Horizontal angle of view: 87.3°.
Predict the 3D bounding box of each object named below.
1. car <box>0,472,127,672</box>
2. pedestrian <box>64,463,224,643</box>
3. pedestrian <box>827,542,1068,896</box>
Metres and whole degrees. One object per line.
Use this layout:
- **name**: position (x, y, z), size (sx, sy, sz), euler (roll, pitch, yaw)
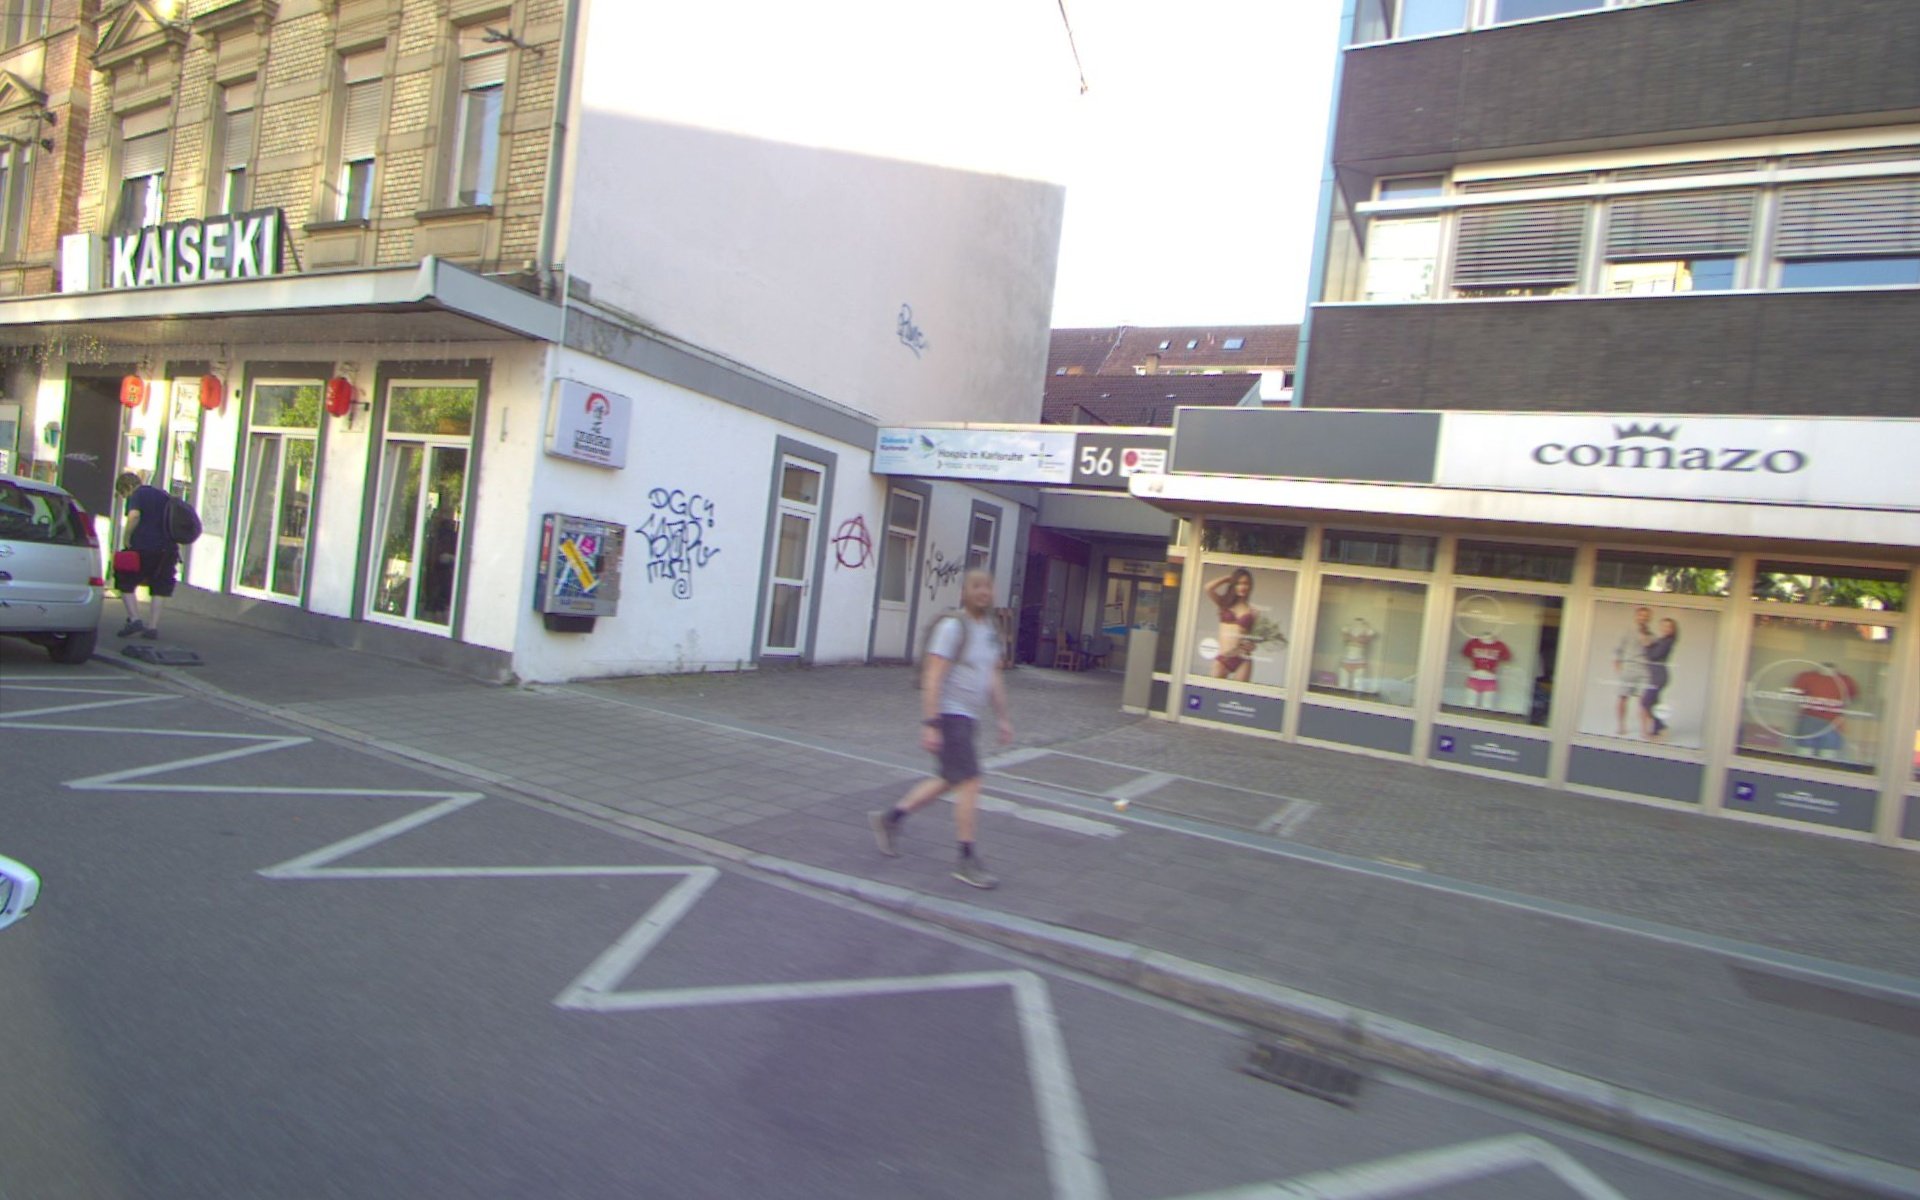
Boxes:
- **car**: position (-9.558, -0.437, 9.109), size (3.876, 1.634, 1.641), euler (7, 0, 28)
- **pedestrian**: position (-8.903, -0.493, 10.991), size (1.036, 1.816, 0.947), euler (7, 2, 28)
- **pedestrian**: position (-0.057, 0.625, 5.746), size (0.929, 1.760, 0.788), euler (7, 2, 28)
